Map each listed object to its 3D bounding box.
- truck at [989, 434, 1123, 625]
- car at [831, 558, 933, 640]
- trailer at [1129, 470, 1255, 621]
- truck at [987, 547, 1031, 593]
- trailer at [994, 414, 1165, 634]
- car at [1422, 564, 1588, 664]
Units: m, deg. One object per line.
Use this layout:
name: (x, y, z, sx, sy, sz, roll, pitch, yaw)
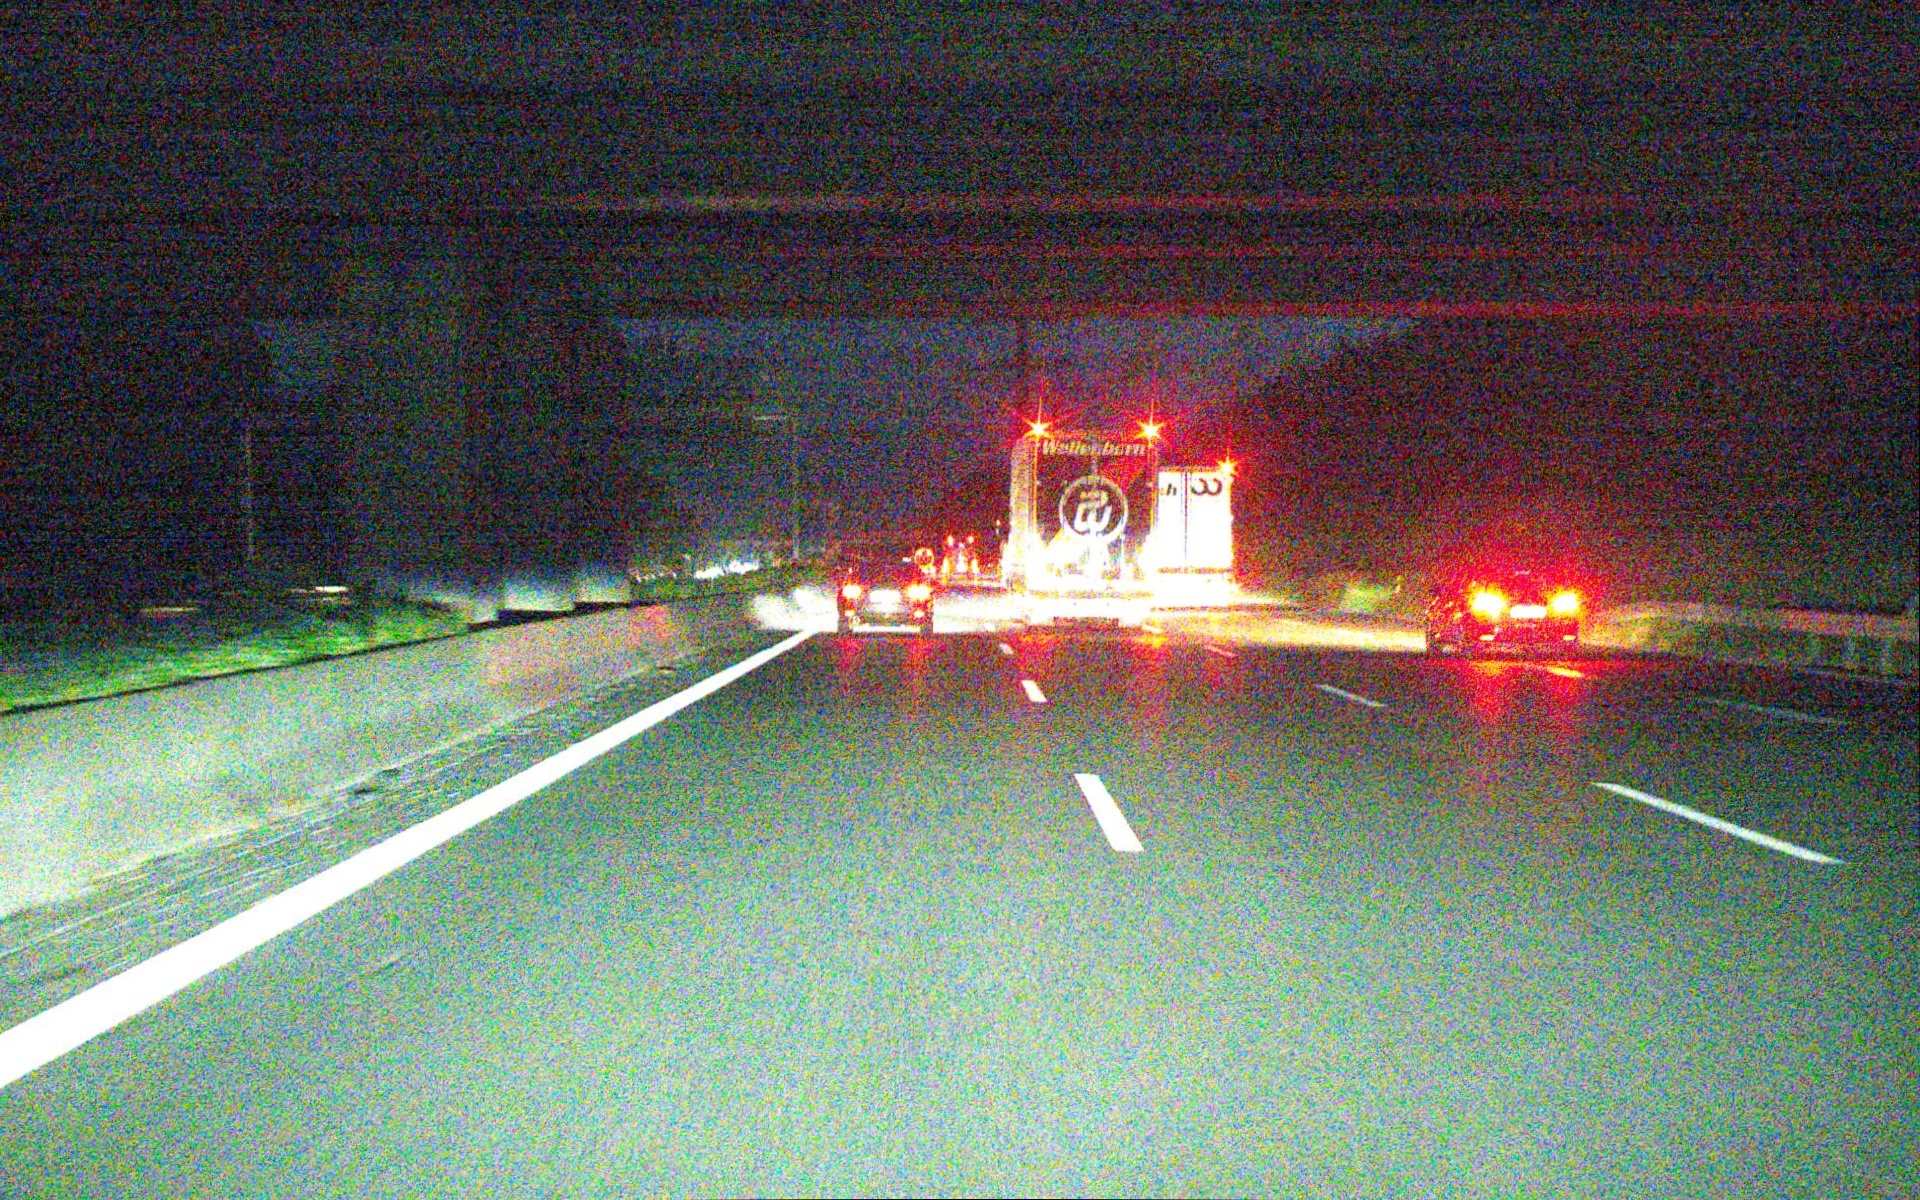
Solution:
truck: (2.177, -1.606, 80.181, 2.661, 4.192, 6.723, 1, 0, -1)
car: (-1.505, -0.038, 64.636, 1.821, 1.461, 4.248, 1, 0, -2)
trailer: (6.576, -1.535, 98.929, 2.591, 4.058, 10.009, 1, 0, -1)
truck: (3.033, -1.894, 214.629, 2.076, 2.681, 7.310, 1, 2, -4)
trailer: (2.377, -1.539, 73.382, 2.742, 4.192, 13.511, 1, 0, -1)
car: (8.440, 0.190, 53.568, 1.821, 1.461, 4.248, 1, 0, -1)
